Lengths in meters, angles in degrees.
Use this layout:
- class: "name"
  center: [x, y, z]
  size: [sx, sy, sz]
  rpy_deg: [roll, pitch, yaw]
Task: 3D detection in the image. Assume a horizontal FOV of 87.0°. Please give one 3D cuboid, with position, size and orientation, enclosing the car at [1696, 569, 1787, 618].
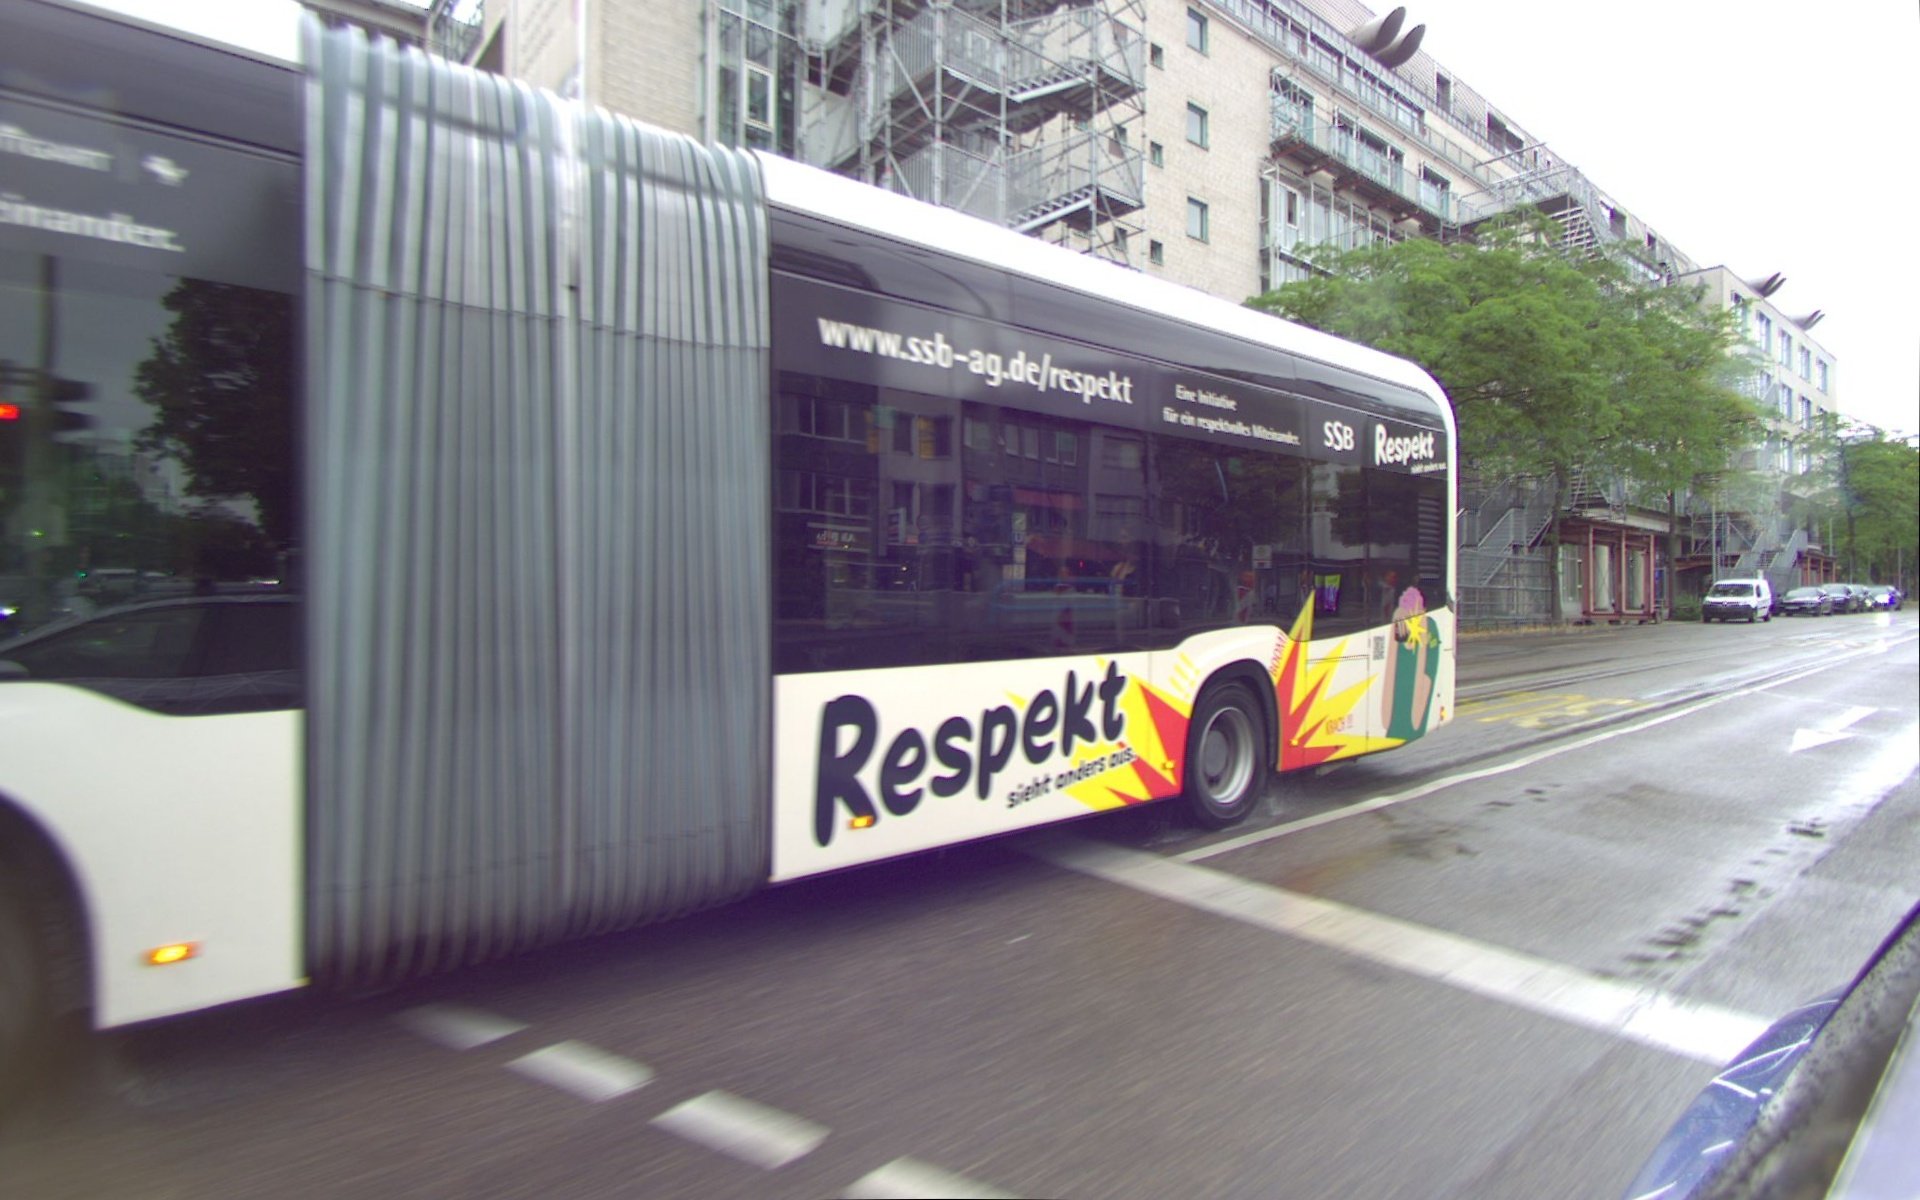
- class: "car"
  center: [32.649, -0.296, 42.271]
  size: [4.255, 1.930, 2.211]
  rpy_deg: [-2, 1, -41]

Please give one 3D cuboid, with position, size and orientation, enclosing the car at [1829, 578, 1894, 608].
- class: "car"
  center: [50.964, -0.429, 57.185]
  size: [4.733, 1.580, 2.145]
  rpy_deg: [-2, 1, -41]

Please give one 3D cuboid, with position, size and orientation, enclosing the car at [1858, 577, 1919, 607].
- class: "car"
  center: [55.542, -0.506, 60.504]
  size: [4.733, 1.667, 2.145]
  rpy_deg: [-2, 1, -41]

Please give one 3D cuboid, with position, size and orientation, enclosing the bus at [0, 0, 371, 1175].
- class: "bus"
  center: [-6.356, -0.250, 1.048]
  size: [9.584, 3.494, 2.889]
  rpy_deg: [-2, 1, -40]

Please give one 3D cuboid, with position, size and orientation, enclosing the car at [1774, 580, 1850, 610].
- class: "car"
  center: [41.686, -0.278, 49.487]
  size: [4.733, 1.353, 2.145]
  rpy_deg: [-2, 1, -41]

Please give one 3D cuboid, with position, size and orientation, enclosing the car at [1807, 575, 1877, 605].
- class: "car"
  center: [46.845, -0.557, 53.729]
  size: [4.733, 1.513, 2.145]
  rpy_deg: [-2, 1, -41]

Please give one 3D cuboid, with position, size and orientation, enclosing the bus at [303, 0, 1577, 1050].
- class: "bus"
  center: [1.103, -0.454, 7.333]
  size: [9.540, 3.483, 2.888]
  rpy_deg: [-2, 1, -40]
